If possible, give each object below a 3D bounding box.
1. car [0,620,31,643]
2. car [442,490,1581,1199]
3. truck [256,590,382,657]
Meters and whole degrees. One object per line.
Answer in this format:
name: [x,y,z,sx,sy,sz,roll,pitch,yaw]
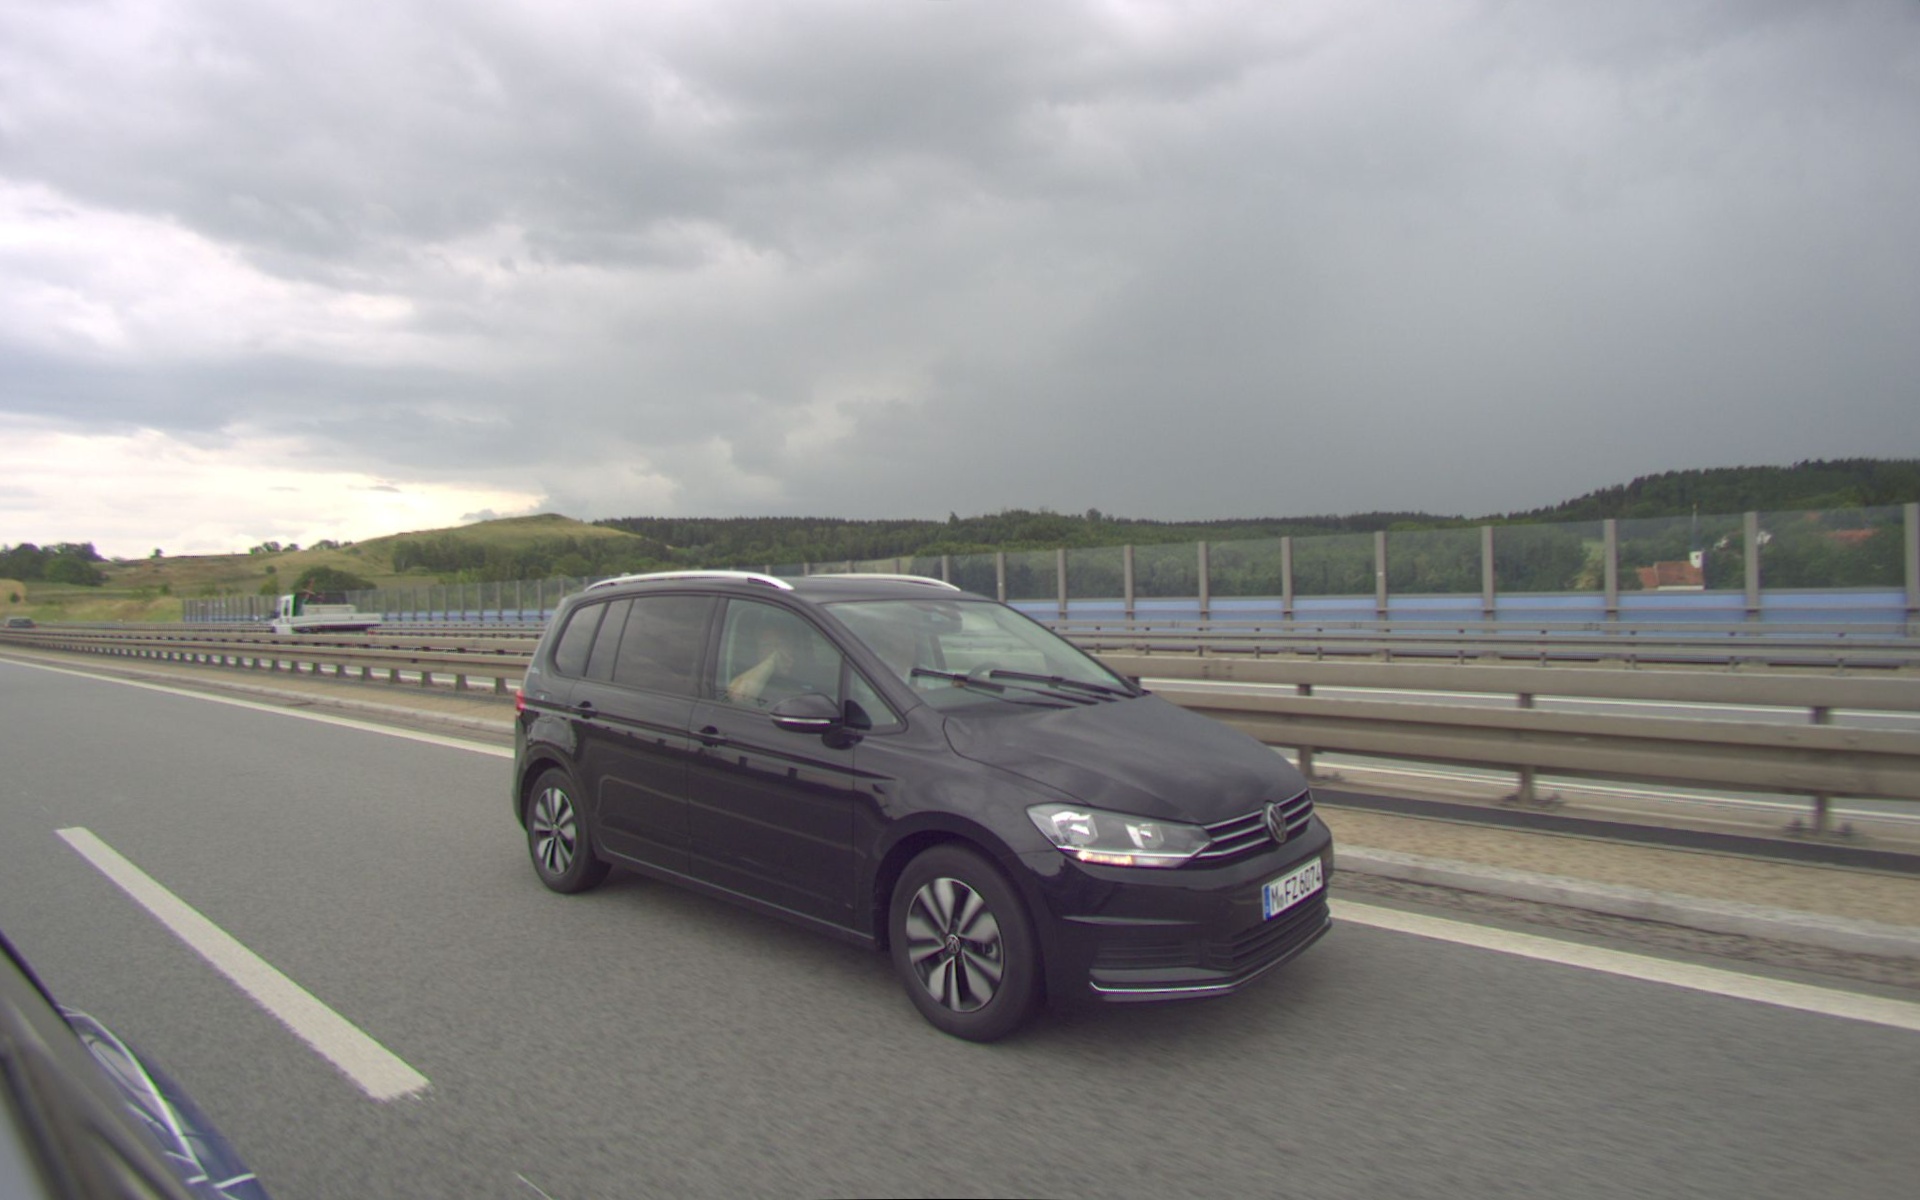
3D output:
car: [-66.412,2.192,70.728,3.998,1.503,1.736,-1,-1,41]
car: [-0.354,0.630,4.808,5.393,1.683,1.876,-1,-1,41]
truck: [-25.705,0.927,40.419,7.448,2.450,2.249,-1,-1,41]
